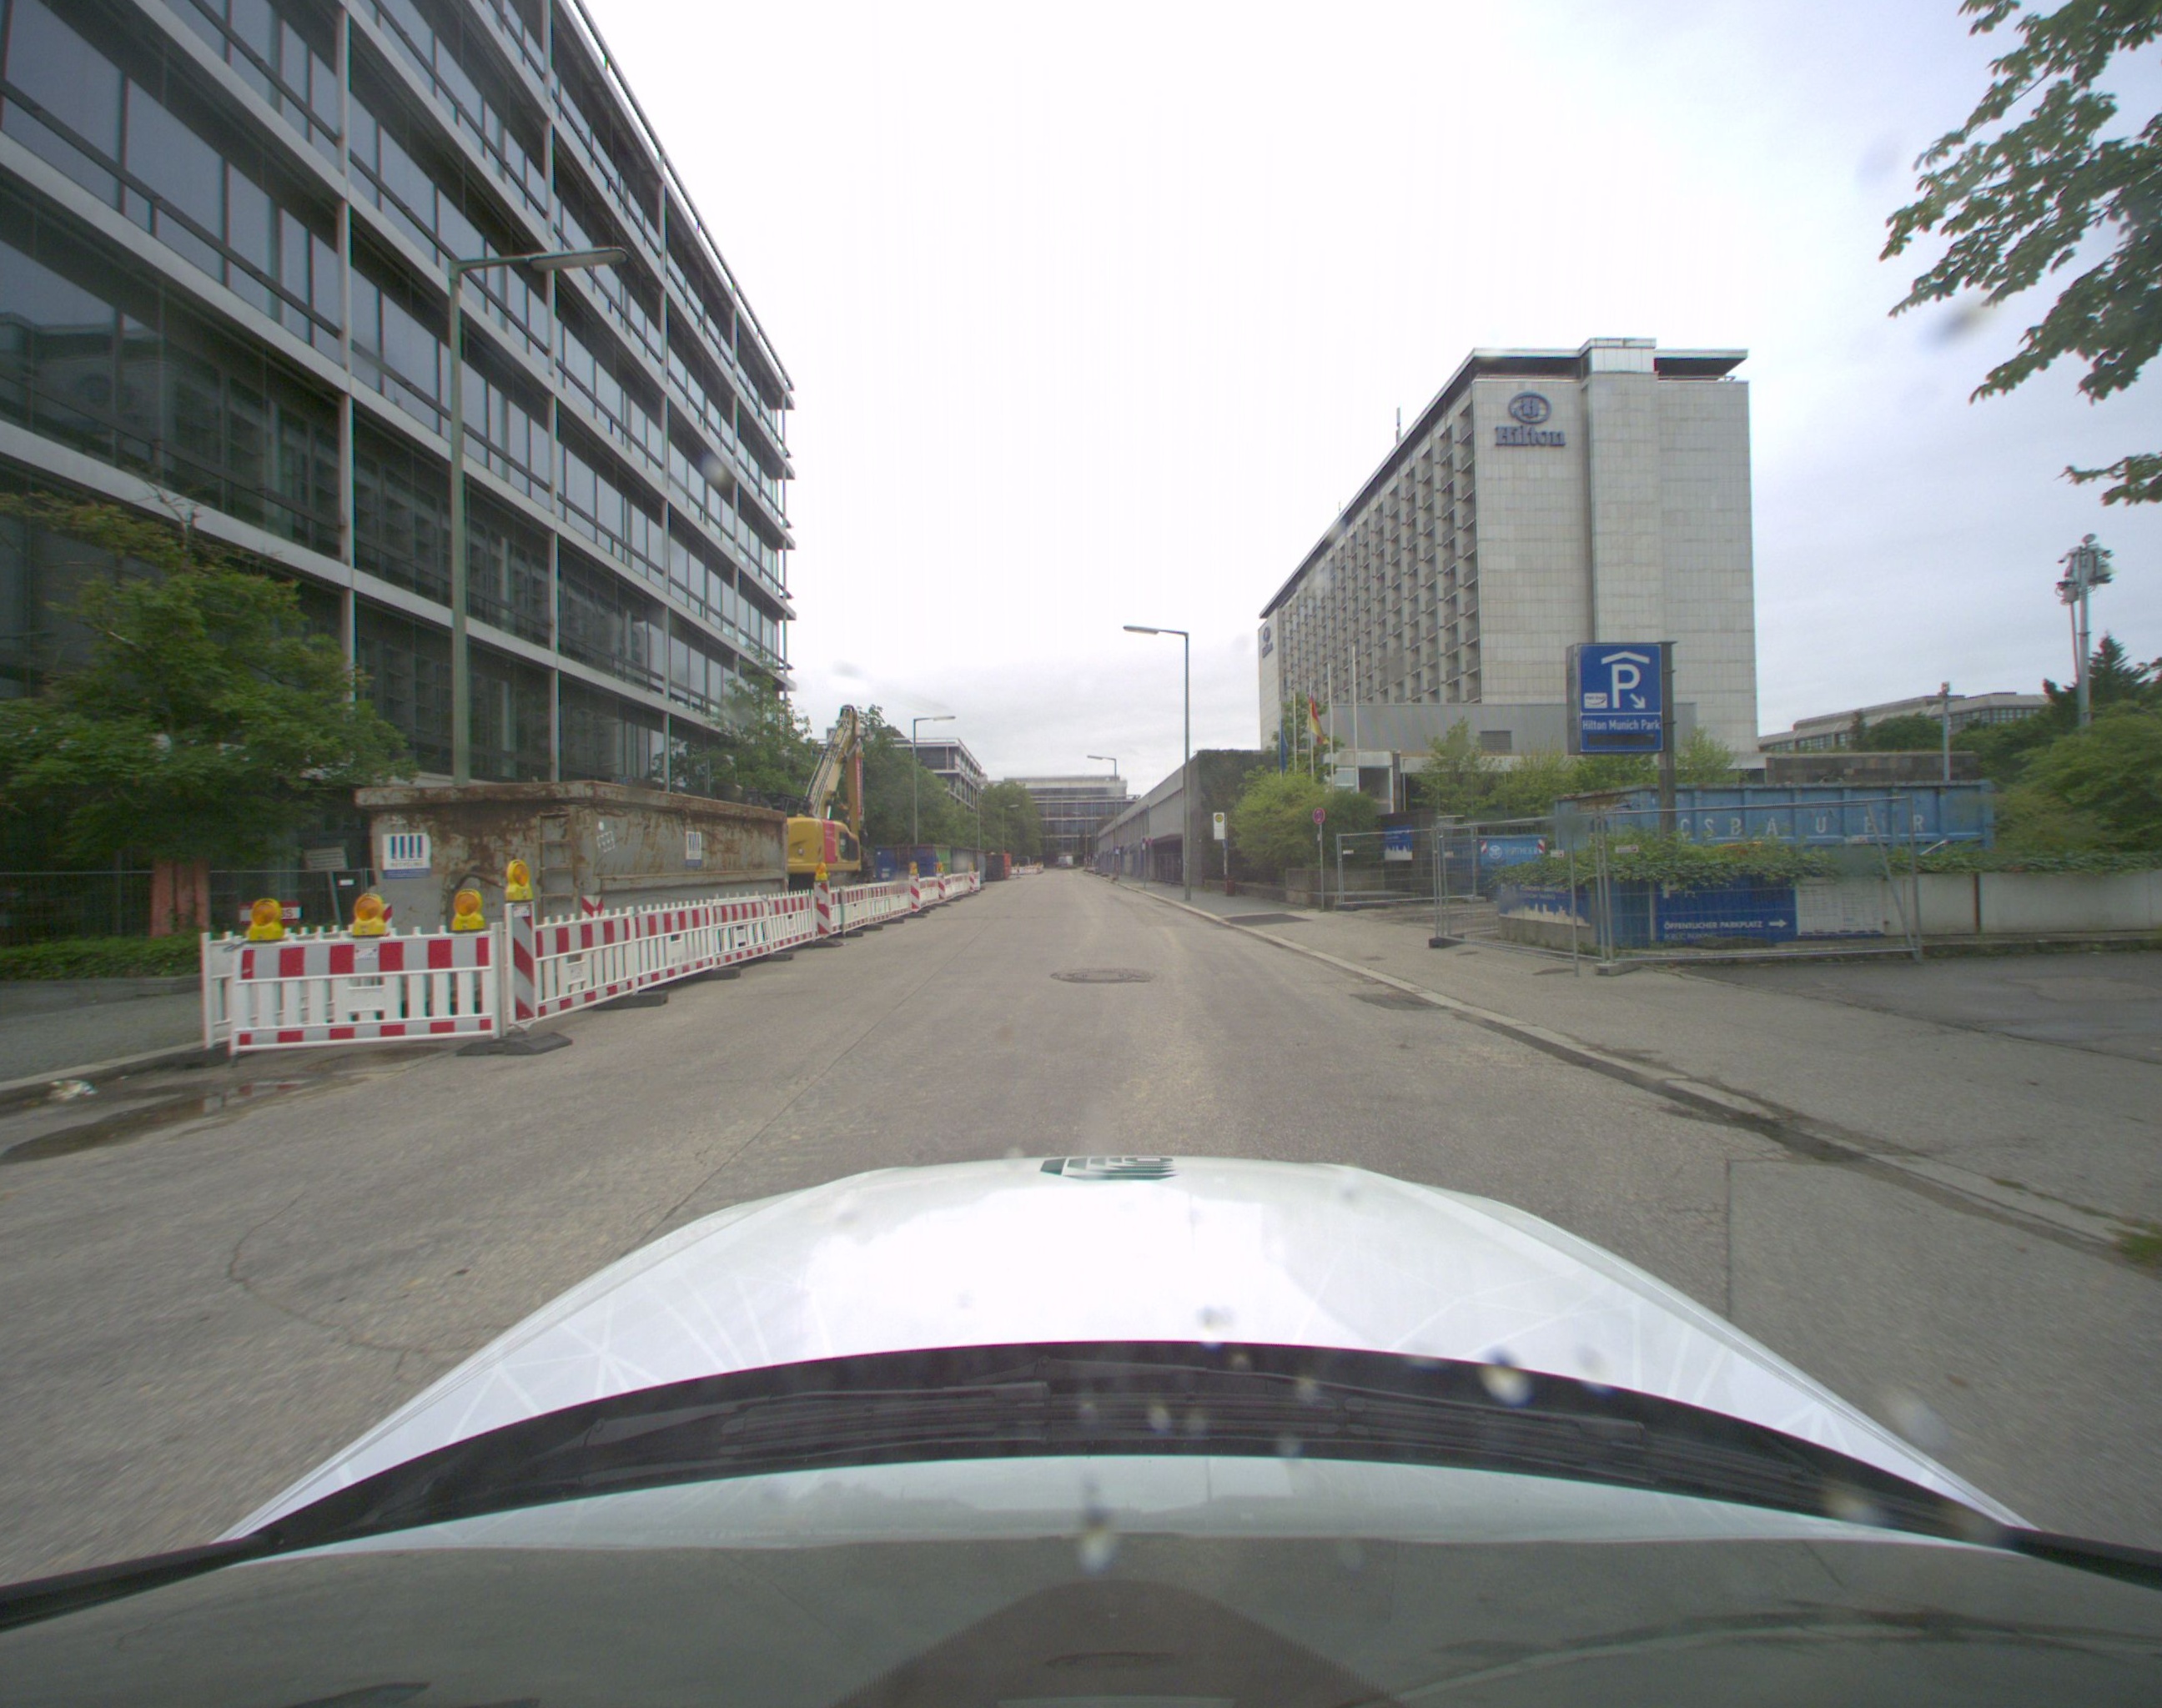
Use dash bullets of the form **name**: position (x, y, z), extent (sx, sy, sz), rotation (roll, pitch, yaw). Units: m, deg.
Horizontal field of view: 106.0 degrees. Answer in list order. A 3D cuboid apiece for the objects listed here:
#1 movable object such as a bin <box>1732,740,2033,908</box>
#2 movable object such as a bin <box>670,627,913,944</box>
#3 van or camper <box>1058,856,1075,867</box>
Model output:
- **movable object such as a bin**: position (21.024, -0.701, 21.332), extent (7.200, 3.683, 3.853), rotation (-2, -1, -31)
- **movable object such as a bin**: position (-7.230, -1.348, 22.814), extent (2.897, 6.565, 11.773), rotation (-1, -1, -2)
- **van or camper**: position (-3.578, 1.873, 196.161), extent (2.097, 2.492, 5.022), rotation (0, -1, -27)
